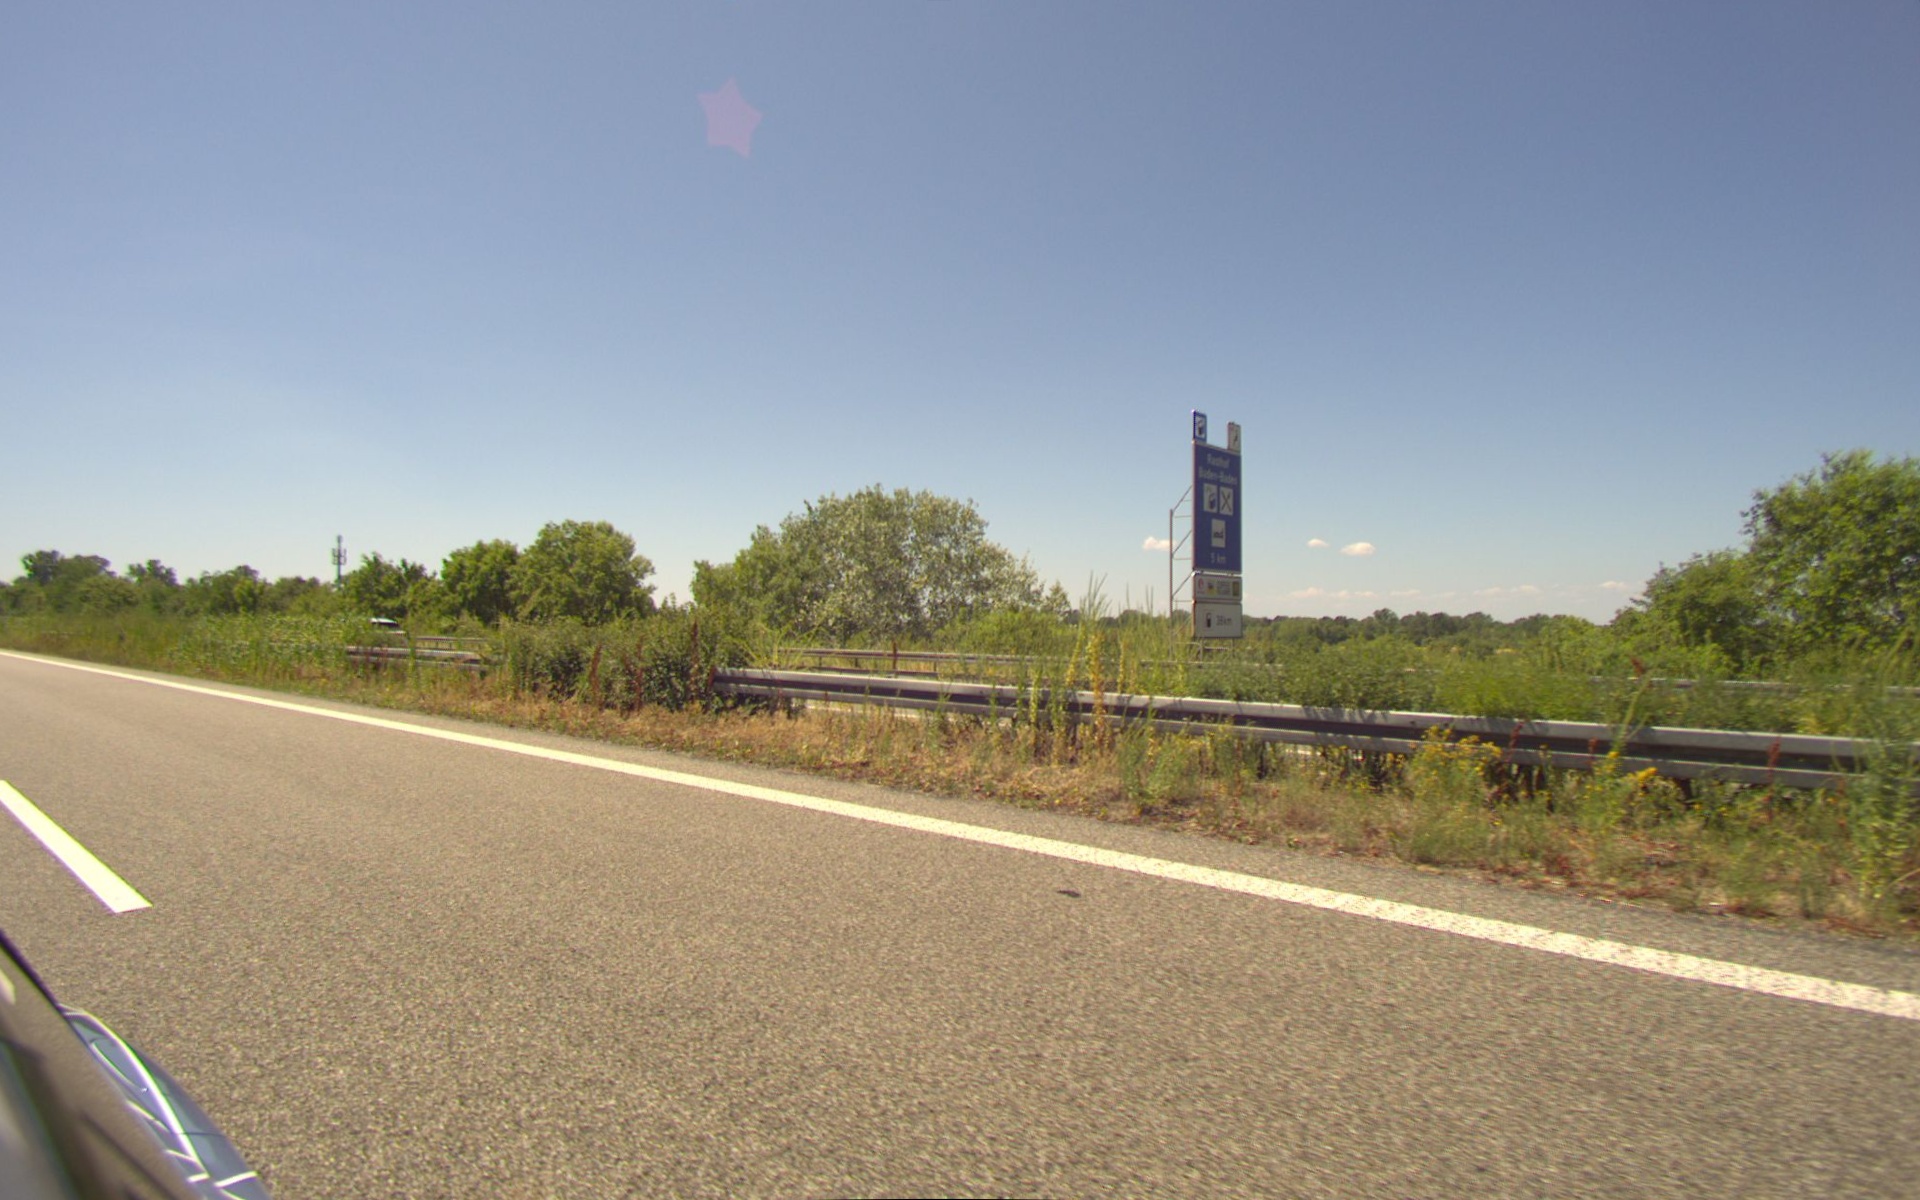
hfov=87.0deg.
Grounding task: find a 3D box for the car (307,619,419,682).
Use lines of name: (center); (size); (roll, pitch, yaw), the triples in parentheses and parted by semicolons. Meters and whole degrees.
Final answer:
car: (-21.032, 1.713, 35.559); (4.753, 2.029, 1.973); (-1, -1, 41)
